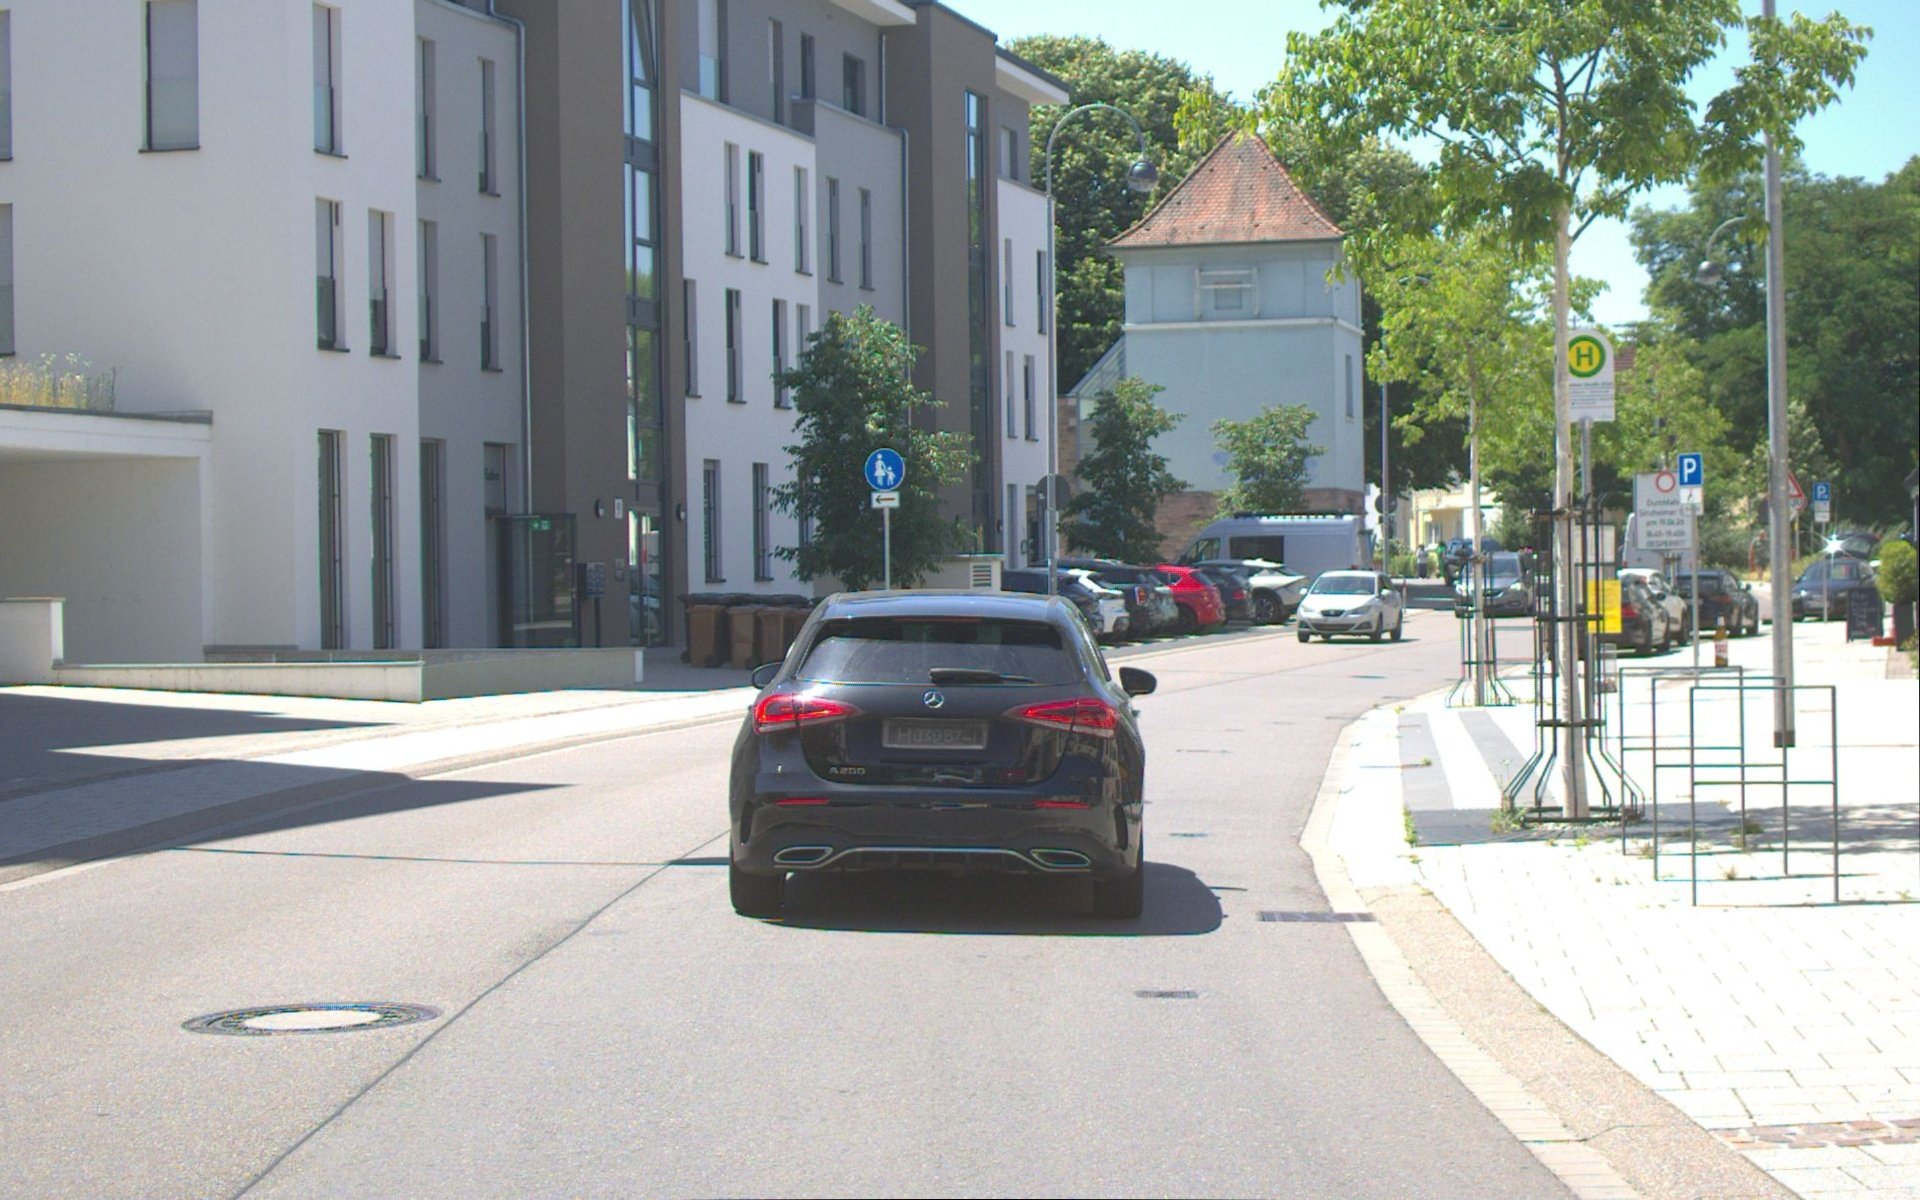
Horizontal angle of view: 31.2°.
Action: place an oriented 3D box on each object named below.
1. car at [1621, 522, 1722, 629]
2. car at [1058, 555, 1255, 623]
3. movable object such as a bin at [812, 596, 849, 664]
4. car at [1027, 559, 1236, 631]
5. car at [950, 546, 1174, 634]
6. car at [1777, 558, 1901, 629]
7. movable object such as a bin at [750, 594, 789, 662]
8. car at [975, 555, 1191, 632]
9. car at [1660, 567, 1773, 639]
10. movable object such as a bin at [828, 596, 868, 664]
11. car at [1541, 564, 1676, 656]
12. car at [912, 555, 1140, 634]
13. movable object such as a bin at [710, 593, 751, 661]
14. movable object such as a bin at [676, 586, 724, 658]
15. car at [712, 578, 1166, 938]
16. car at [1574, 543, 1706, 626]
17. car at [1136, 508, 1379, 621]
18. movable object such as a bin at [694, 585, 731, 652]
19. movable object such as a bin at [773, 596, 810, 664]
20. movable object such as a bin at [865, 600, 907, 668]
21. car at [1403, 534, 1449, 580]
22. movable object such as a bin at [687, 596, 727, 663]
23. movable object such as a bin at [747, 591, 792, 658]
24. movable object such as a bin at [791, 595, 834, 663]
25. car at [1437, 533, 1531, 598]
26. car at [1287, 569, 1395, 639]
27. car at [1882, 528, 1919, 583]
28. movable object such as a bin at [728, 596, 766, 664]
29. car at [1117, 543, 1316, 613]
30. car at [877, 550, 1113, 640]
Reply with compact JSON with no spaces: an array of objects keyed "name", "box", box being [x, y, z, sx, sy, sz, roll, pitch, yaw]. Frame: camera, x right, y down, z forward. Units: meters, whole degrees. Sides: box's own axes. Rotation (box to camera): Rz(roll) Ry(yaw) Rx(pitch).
[{"name":"car","box":[19.404,-0.703,93.593,2.129,2.620,5.274,-3,2,17]},{"name":"car","box":[4.451,-0.267,77.681,4.202,1.432,1.885,1,1,12]},{"name":"movable object such as a bin","box":[-1.920,0.449,51.154,0.403,0.994,0.555,0,1,14]},{"name":"car","box":[3.670,-0.130,73.294,4.036,1.425,1.998,1,1,18]},{"name":"car","box":[2.042,-0.225,68.339,4.036,1.645,1.998,1,1,18]},{"name":"car","box":[21.065,-0.169,82.300,1.875,1.486,3.856,-2,2,30]},{"name":"movable object such as a bin","box":[-2.813,0.410,50.867,0.425,0.994,0.523,0,1,15]},{"name":"car","box":[2.553,-0.156,71.119,4.036,1.491,1.998,1,1,18]},{"name":"car","box":[15.909,0.050,72.163,1.726,1.400,4.604,-1,0,20]},{"name":"movable object such as a bin","box":[-1.642,0.436,50.493,0.483,0.994,0.588,0,1,9]},{"name":"car","box":[11.391,0.167,60.203,1.834,1.477,4.092,-2,-1,17]},{"name":"car","box":[1.268,-0.118,65.943,3.990,1.416,1.908,1,1,17]},{"name":"movable object such as a bin","box":[-3.389,0.399,50.719,0.483,0.994,0.526,0,1,10]},{"name":"movable object such as a bin","box":[-4.009,0.337,53.038,0.692,1.092,0.648,0,1,-1]},{"name":"car","box":[-0.118,0.633,16.043,1.827,1.437,4.000,1,0,-1]},{"name":"car","box":[13.113,-0.313,66.126,1.739,1.481,4.050,-3,0,21]},{"name":"car","box":[7.566,-0.913,87.361,5.772,2.723,2.290,1,1,17]},{"name":"movable object such as a bin","box":[-3.883,0.292,54.028,0.554,1.035,0.482,0,1,-1]},{"name":"movable object such as a bin","box":[-2.515,0.445,51.358,0.403,0.994,0.555,0,1,14]},{"name":"movable object such as a bin","box":[-1.100,0.508,51.275,0.483,0.994,0.587,0,1,14]},{"name":"car","box":[21.121,-1.956,155.844,1.994,2.007,3.999,1,0,7]},{"name":"movable object such as a bin","box":[-3.787,0.439,51.517,0.483,0.994,0.588,0,1,9]},{"name":"movable object such as a bin","box":[-2.982,0.379,53.868,0.675,1.035,0.604,0,1,-1]},{"name":"movable object such as a bin","box":[-2.186,0.421,50.863,0.483,0.994,0.587,0,1,15]},{"name":"car","box":[13.783,-0.894,90.300,1.943,1.653,4.232,1,1,15]},{"name":"car","box":[7.803,0.067,70.224,1.668,1.391,3.845,0,0,14]},{"name":"car","box":[31.253,-1.390,108.556,4.078,1.710,1.855,1,1,14]},{"name":"movable object such as a bin","box":[-3.176,0.443,51.322,0.403,0.994,0.555,0,1,14]},{"name":"car","box":[6.201,-0.534,82.913,4.457,1.586,1.999,1,1,16]},{"name":"car","box":[0.666,-0.113,63.853,3.990,1.510,1.999,1,3,17]}]
